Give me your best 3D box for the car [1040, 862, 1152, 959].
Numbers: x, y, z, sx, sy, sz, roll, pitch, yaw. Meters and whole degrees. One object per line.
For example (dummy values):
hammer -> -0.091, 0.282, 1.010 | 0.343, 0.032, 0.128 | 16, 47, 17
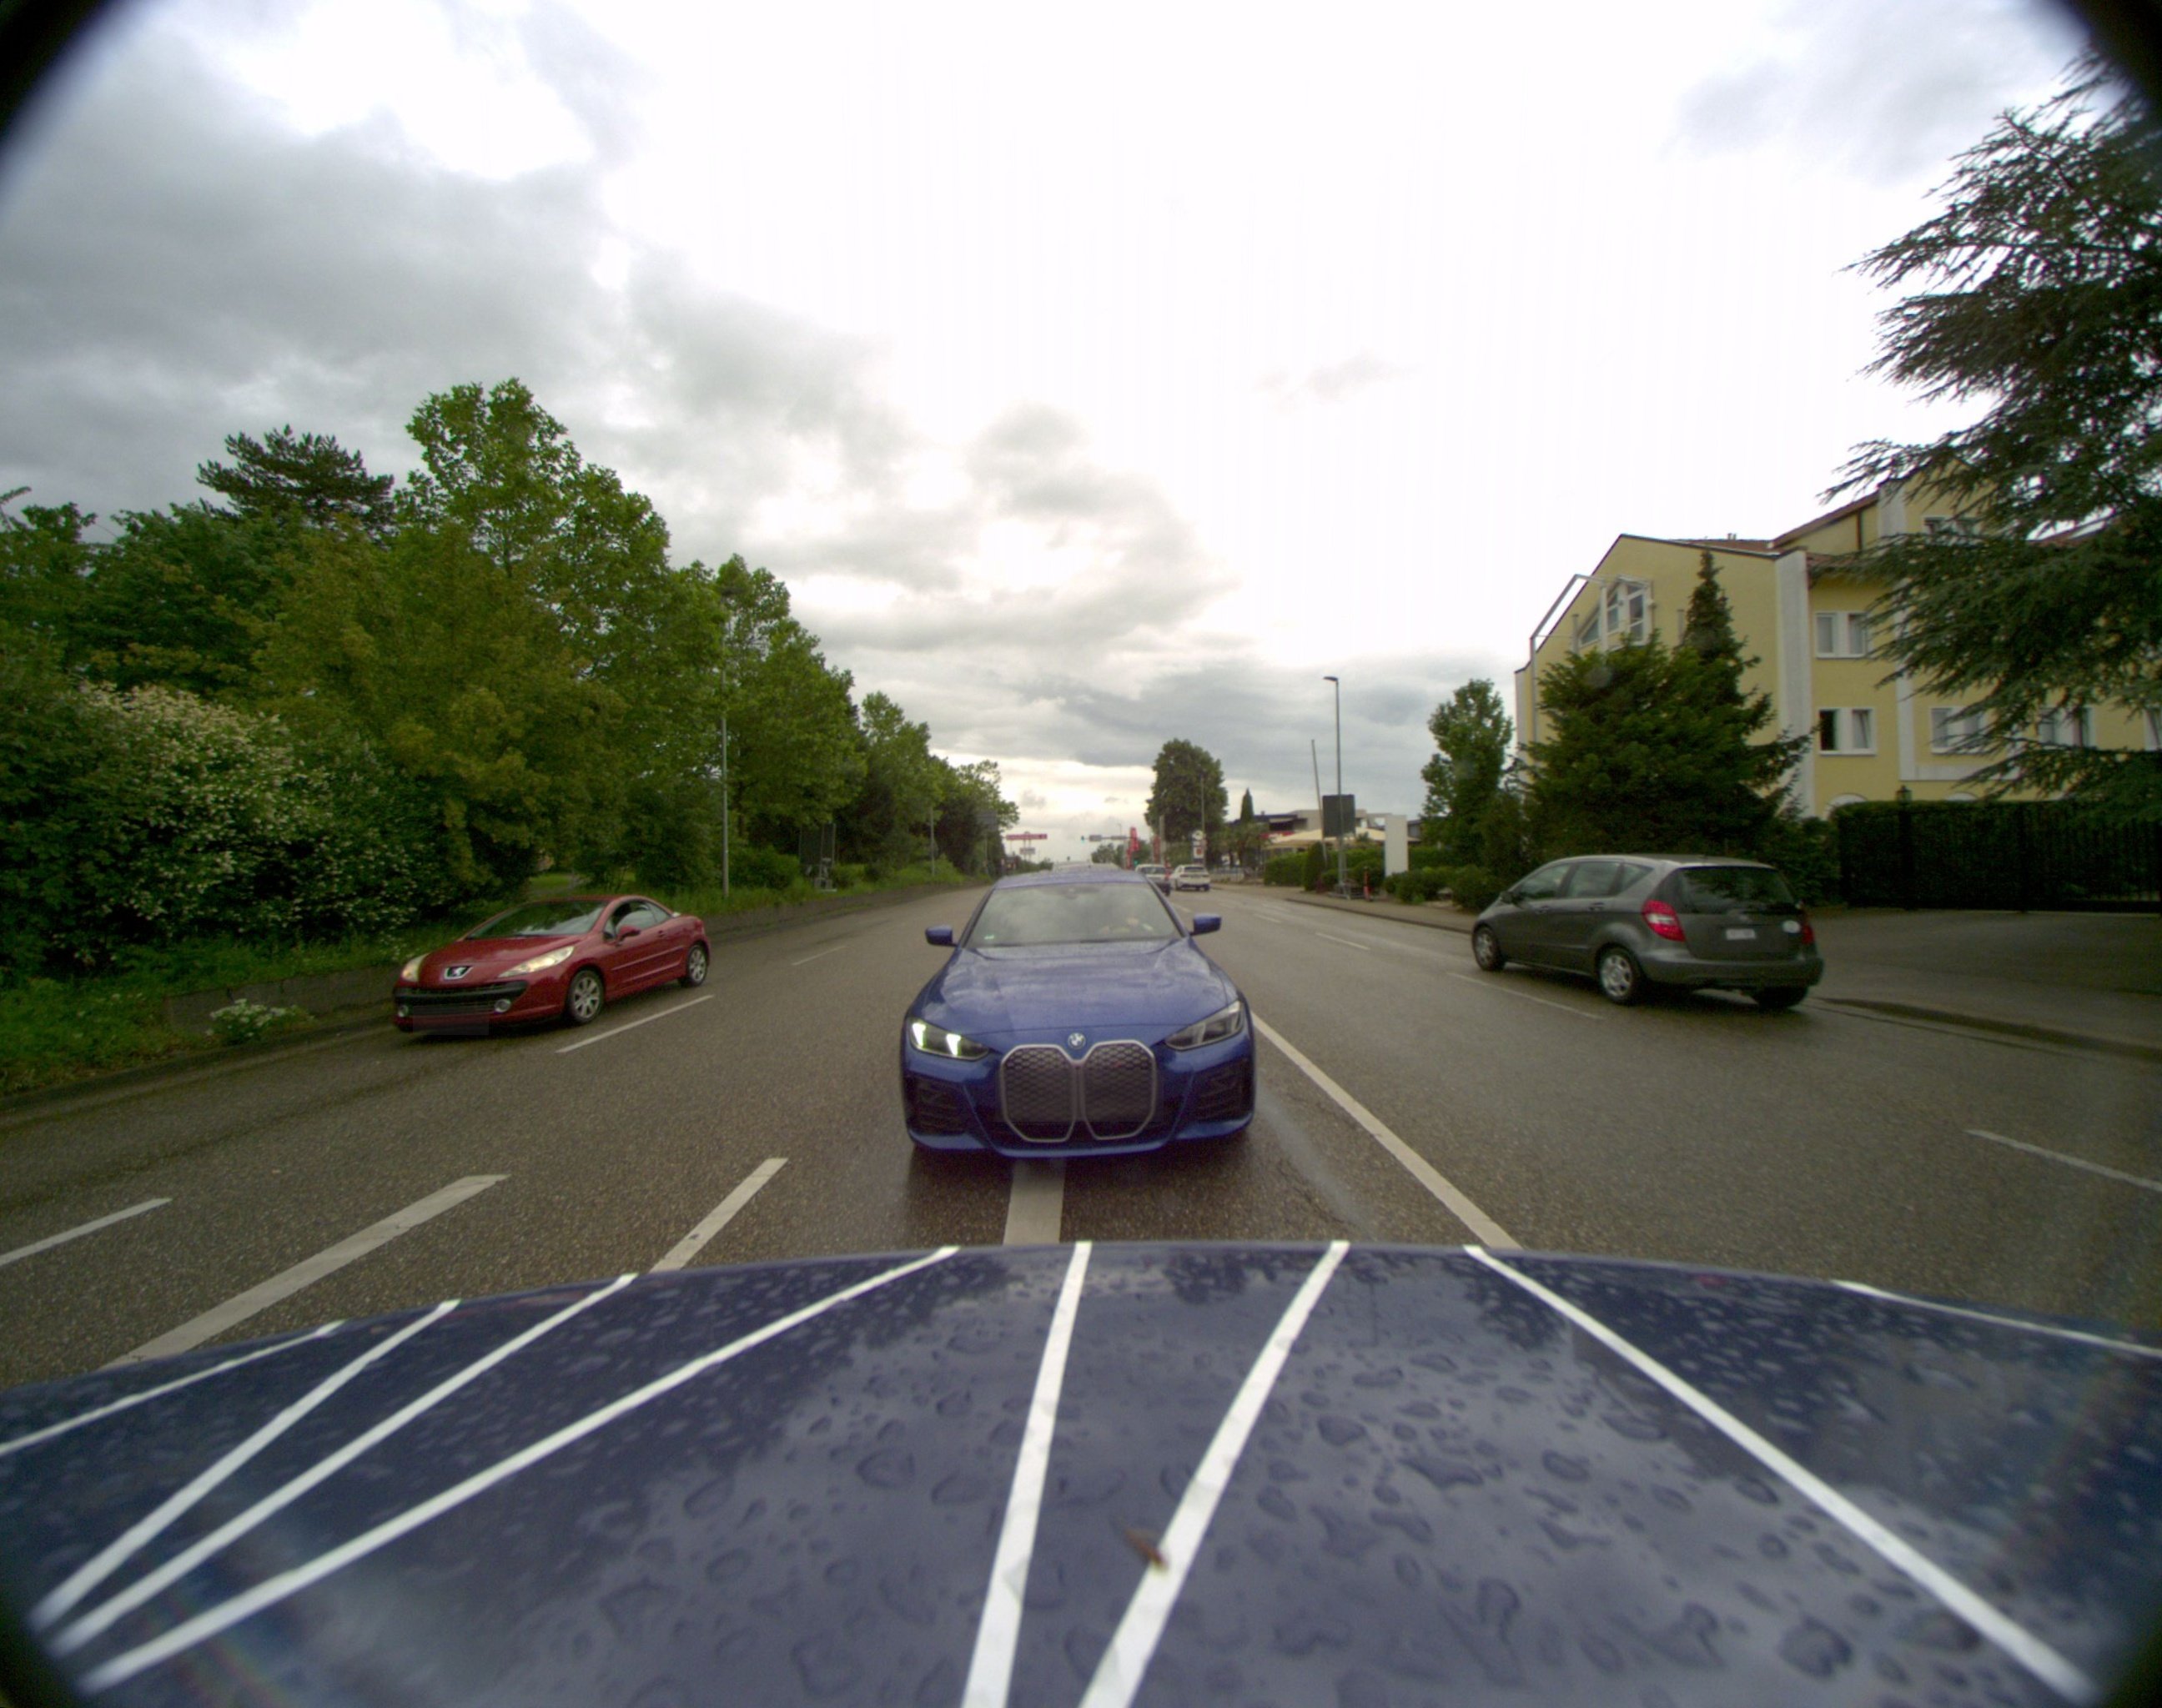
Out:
car -> 0.254, 0.956, 14.576 | 1.807, 1.543, 4.223 | -1, 0, 0

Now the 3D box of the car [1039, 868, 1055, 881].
car -> -4.239, 2.562, 94.725 | 1.775, 1.448, 4.000 | -1, 0, 1

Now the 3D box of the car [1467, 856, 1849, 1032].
car -> 6.275, 0.839, 8.838 | 1.704, 1.590, 3.549 | -1, 0, -1

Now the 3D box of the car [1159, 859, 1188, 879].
car -> 7.068, 1.130, 58.450 | 1.699, 1.467, 3.780 | -1, 0, -1

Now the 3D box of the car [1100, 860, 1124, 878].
car -> 2.692, 1.286, 67.273 | 1.820, 1.373, 4.272 | -3, 0, 0

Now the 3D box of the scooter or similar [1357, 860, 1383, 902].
scooter or similar -> 10.046, 0.924, 26.454 | 0.505, 1.398, 1.882 | -1, 0, 11

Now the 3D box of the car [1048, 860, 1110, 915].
car -> -0.051, 0.997, 24.429 | 1.807, 1.543, 4.000 | -1, 0, 0

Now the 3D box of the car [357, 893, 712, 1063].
car -> -6.210, 1.299, 9.236 | 1.629, 1.395, 3.689 | -3, 0, -1

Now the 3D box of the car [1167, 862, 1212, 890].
car -> 6.075, 1.180, 42.805 | 1.790, 1.451, 4.431 | -1, 0, -1

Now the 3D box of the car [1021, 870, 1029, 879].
car -> -13.278, 4.824, 179.703 | 1.812, 1.718, 3.998 | -3, 1, -3

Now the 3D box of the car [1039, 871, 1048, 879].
car -> -7.281, 4.104, 148.001 | 1.710, 1.570, 3.518 | -1, 0, -2

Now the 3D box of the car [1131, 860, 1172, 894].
car -> 3.291, 1.045, 36.031 | 1.643, 1.451, 3.518 | -1, 0, 0

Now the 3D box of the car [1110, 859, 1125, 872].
car -> 4.992, 1.504, 104.025 | 1.764, 1.665, 3.780 | -1, 0, -1

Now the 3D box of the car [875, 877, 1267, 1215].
car -> -0.043, 0.965, 5.689 | 1.803, 1.399, 4.272 | -1, 0, 0
